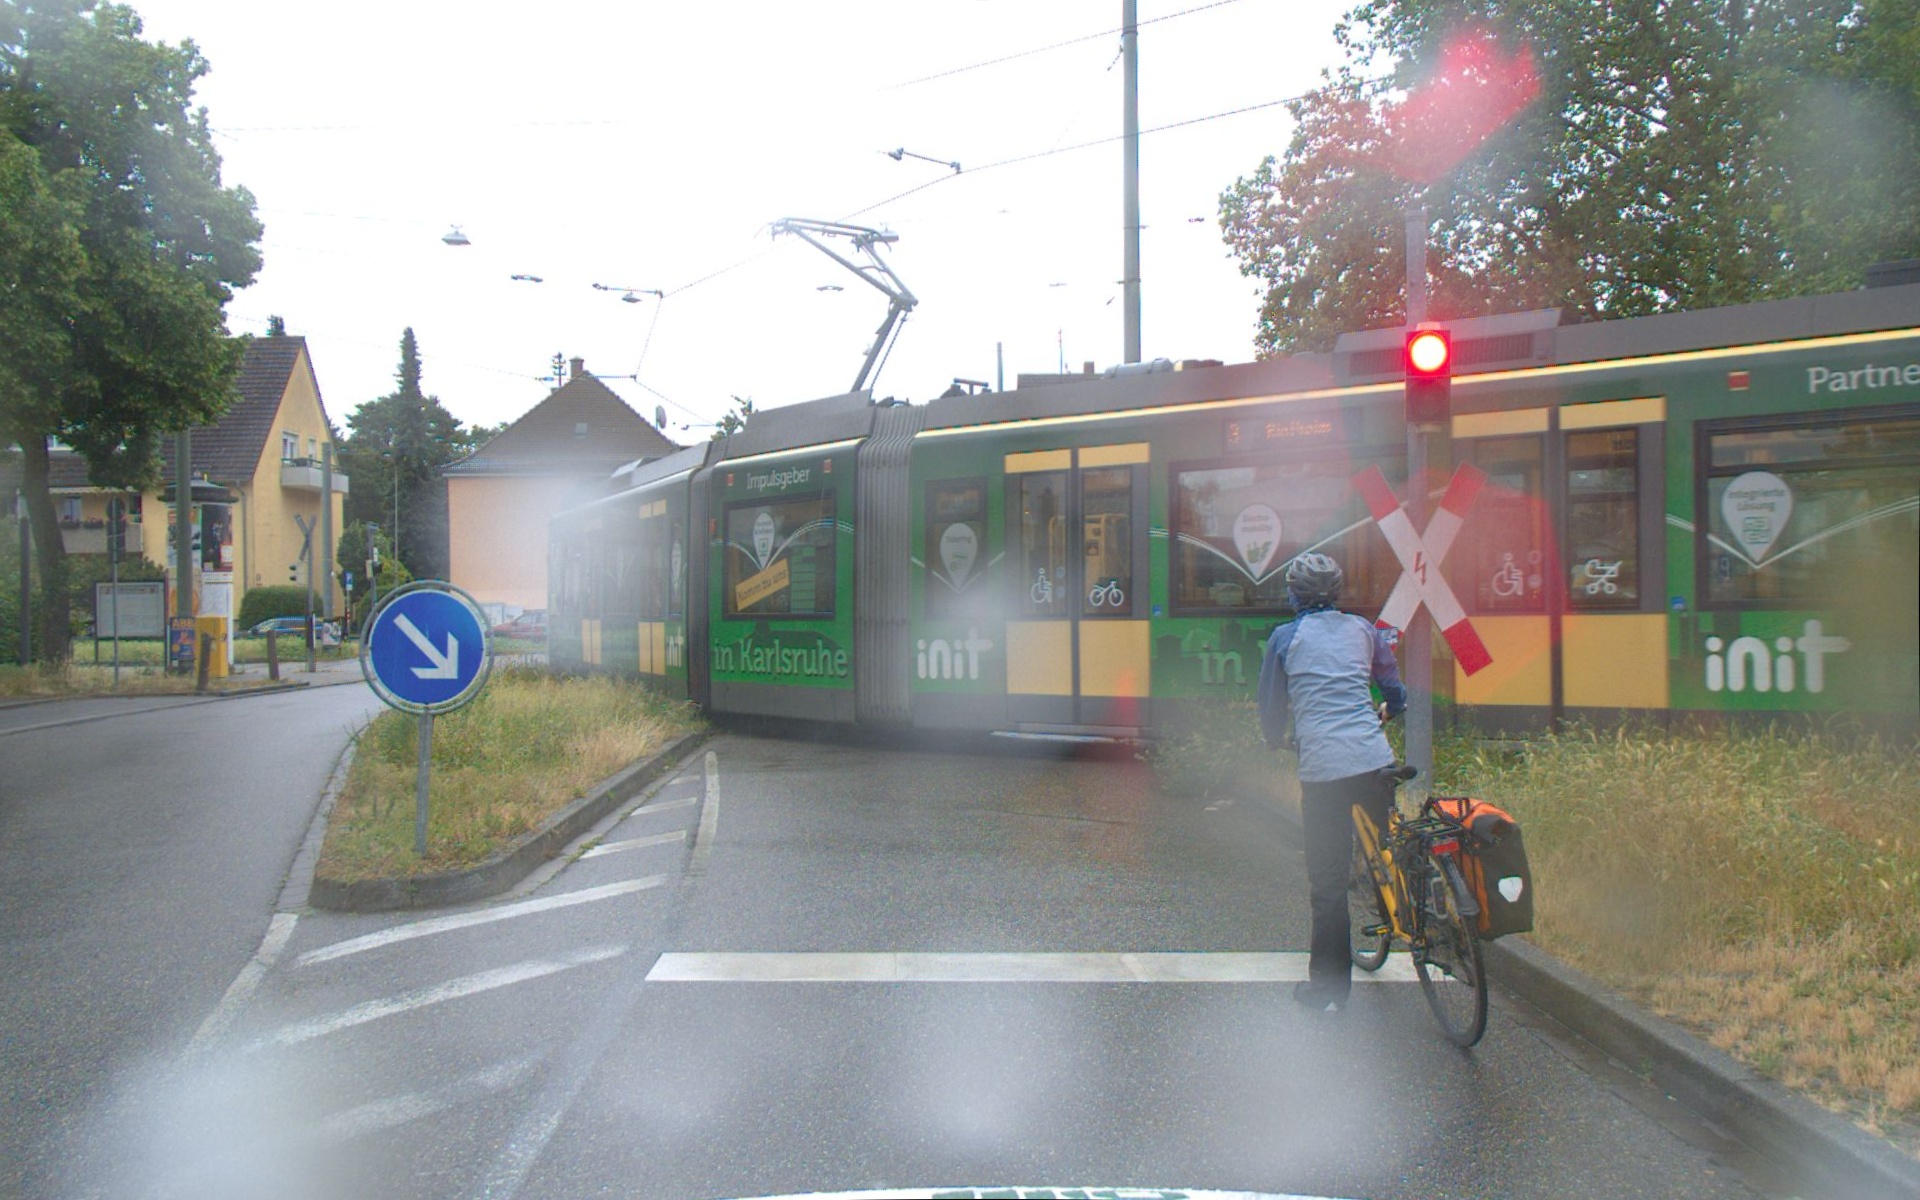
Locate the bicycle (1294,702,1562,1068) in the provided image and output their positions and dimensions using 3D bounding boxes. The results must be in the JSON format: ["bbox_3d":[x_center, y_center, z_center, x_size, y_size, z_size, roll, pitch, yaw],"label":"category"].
[{"bbox_3d":[1.651,0.951,6.077,0.437,1.022,1.727,-1,1,-2],"label":"bicycle"}]

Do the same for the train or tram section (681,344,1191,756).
[{"bbox_3d":[-0.383,-0.427,17.284,2.747,3.615,4.910,-1,0,-43],"label":"train or tram section"}]

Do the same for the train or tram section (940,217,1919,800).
[{"bbox_3d":[5.356,-0.548,12.513,11.970,3.615,2.757,-1,0,39],"label":"train or tram section"}]

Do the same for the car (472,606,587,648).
[{"bbox_3d":[-16.183,1.013,62.330,3.911,1.482,1.831,1,0,-7],"label":"car"}]

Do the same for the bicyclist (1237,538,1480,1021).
[{"bbox_3d":[1.448,0.621,6.126,0.653,1.654,0.852,1,-1,-2],"label":"bicyclist"}]

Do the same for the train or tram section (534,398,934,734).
[{"bbox_3d":[-3.997,-0.348,24.368,2.722,3.615,13.044,-1,0,-22],"label":"train or tram section"}]
